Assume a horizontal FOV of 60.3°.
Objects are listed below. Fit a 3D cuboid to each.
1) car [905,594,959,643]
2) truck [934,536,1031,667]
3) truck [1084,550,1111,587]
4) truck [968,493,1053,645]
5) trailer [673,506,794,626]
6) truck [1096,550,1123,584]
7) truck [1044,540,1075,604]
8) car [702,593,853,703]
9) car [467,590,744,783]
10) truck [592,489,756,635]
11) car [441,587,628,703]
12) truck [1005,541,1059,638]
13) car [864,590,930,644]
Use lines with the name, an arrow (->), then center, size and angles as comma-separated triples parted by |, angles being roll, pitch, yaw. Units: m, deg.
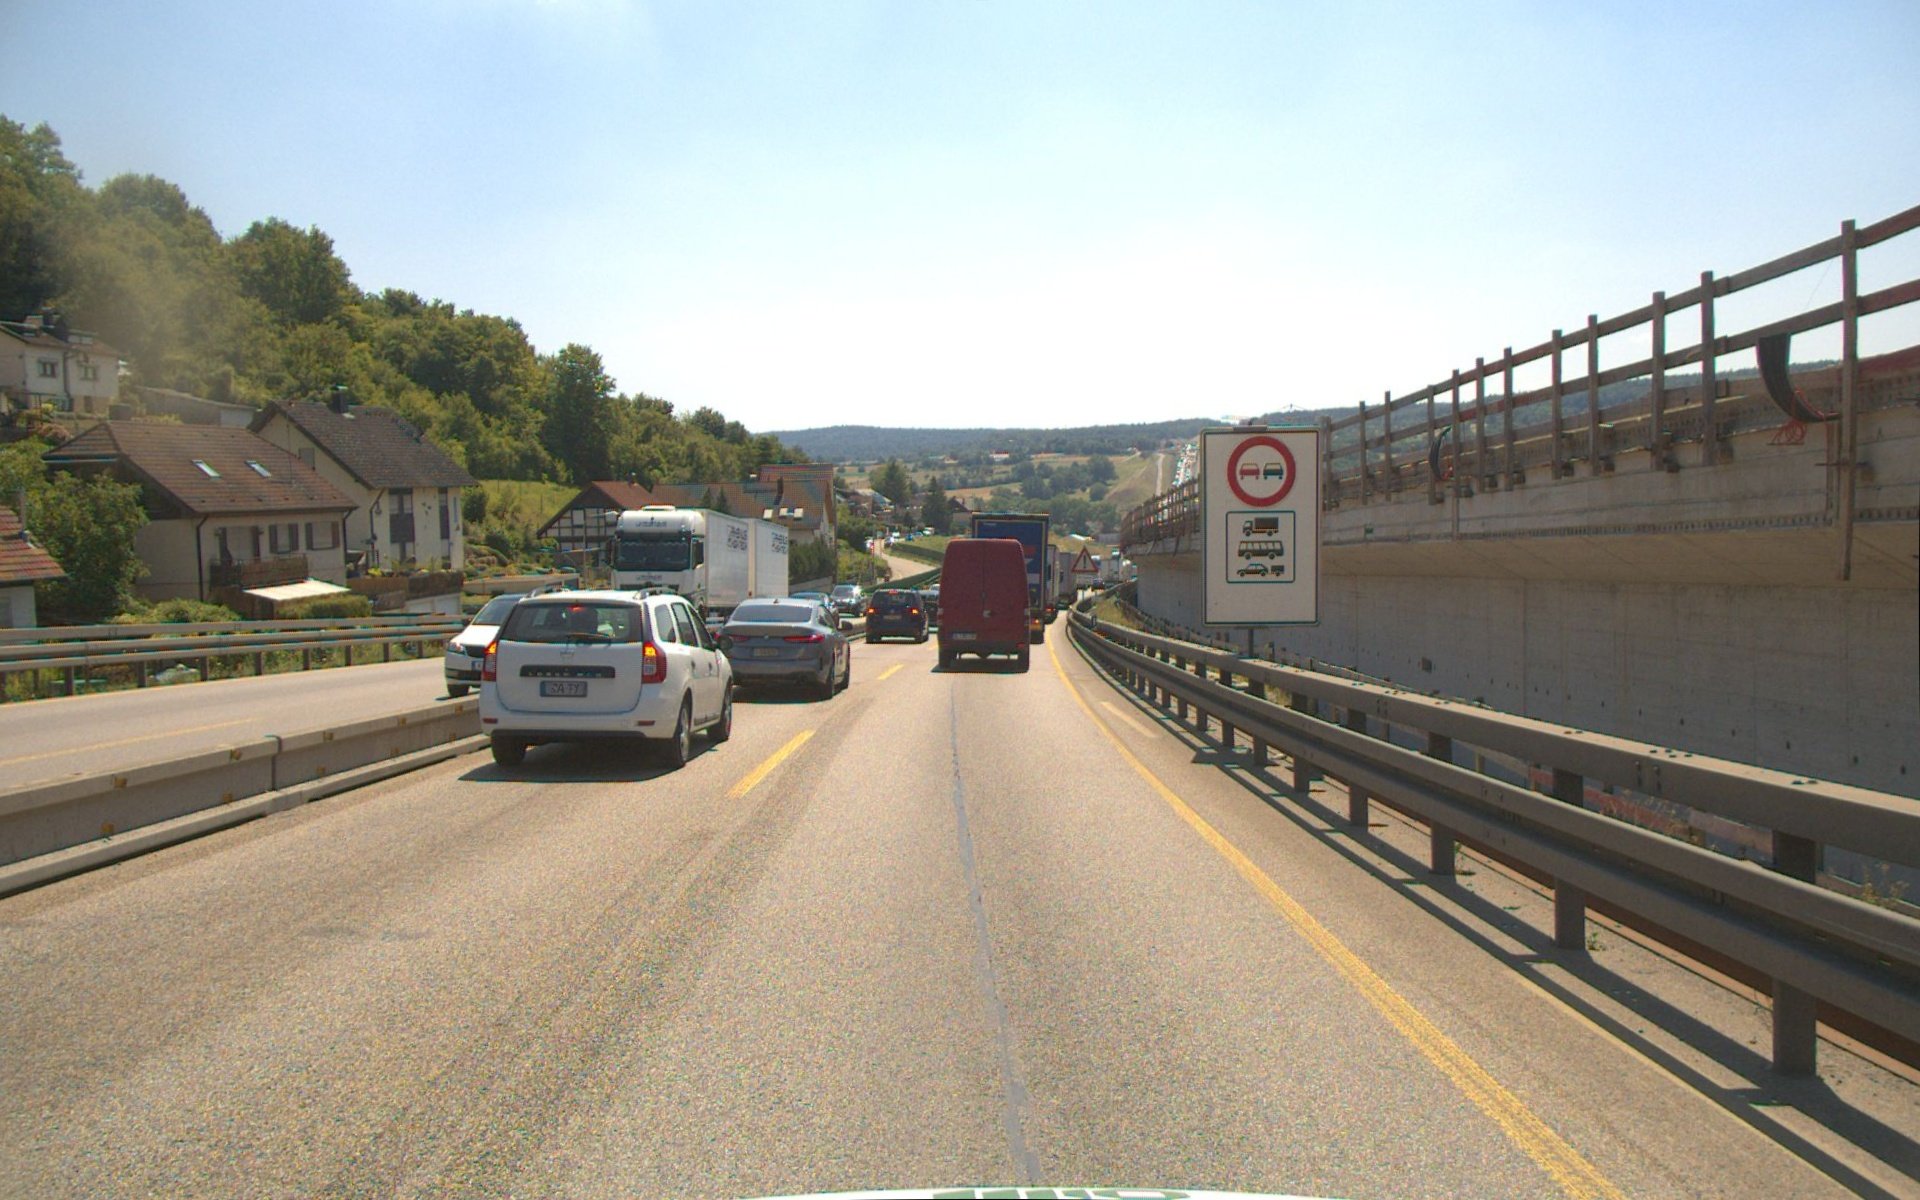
car -> -1.068, 0.727, 64.971 | 1.693, 1.870, 4.002 | 0, -1, 5
truck -> 0.514, 0.054, 35.383 | 1.952, 2.624, 4.000 | 0, -1, 2
truck -> 17.520, -3.943, 209.978 | 3.004, 4.458, 8.563 | 0, -1, 7
truck -> 1.895, -0.932, 58.569 | 2.728, 4.900, 9.688 | 0, -1, 3
trailer -> -8.451, -1.209, 62.908 | 2.941, 4.238, 9.020 | 0, 0, 3
truck -> 20.865, -4.533, 230.823 | 3.393, 4.458, 8.563 | 0, -1, 7
truck -> 7.204, -1.983, 119.782 | 1.951, 4.458, 4.003 | 0, -1, 7
car -> -2.652, 0.669, 24.912 | 1.757, 1.511, 4.050 | 0, 0, 1
car -> -3.160, 0.721, 15.561 | 1.618, 1.509, 4.266 | -2, -1, 0
truck -> -8.928, -1.142, 53.167 | 2.916, 4.235, 10.549 | 0, 0, 3
car -> -6.220, 0.653, 24.640 | 1.548, 1.548, 4.155 | 1, -1, 2
truck -> 3.923, -0.438, 88.811 | 2.728, 4.900, 9.688 | 0, -1, 3
car -> -1.931, 0.539, 51.936 | 1.772, 1.636, 3.720 | 0, -1, 2
